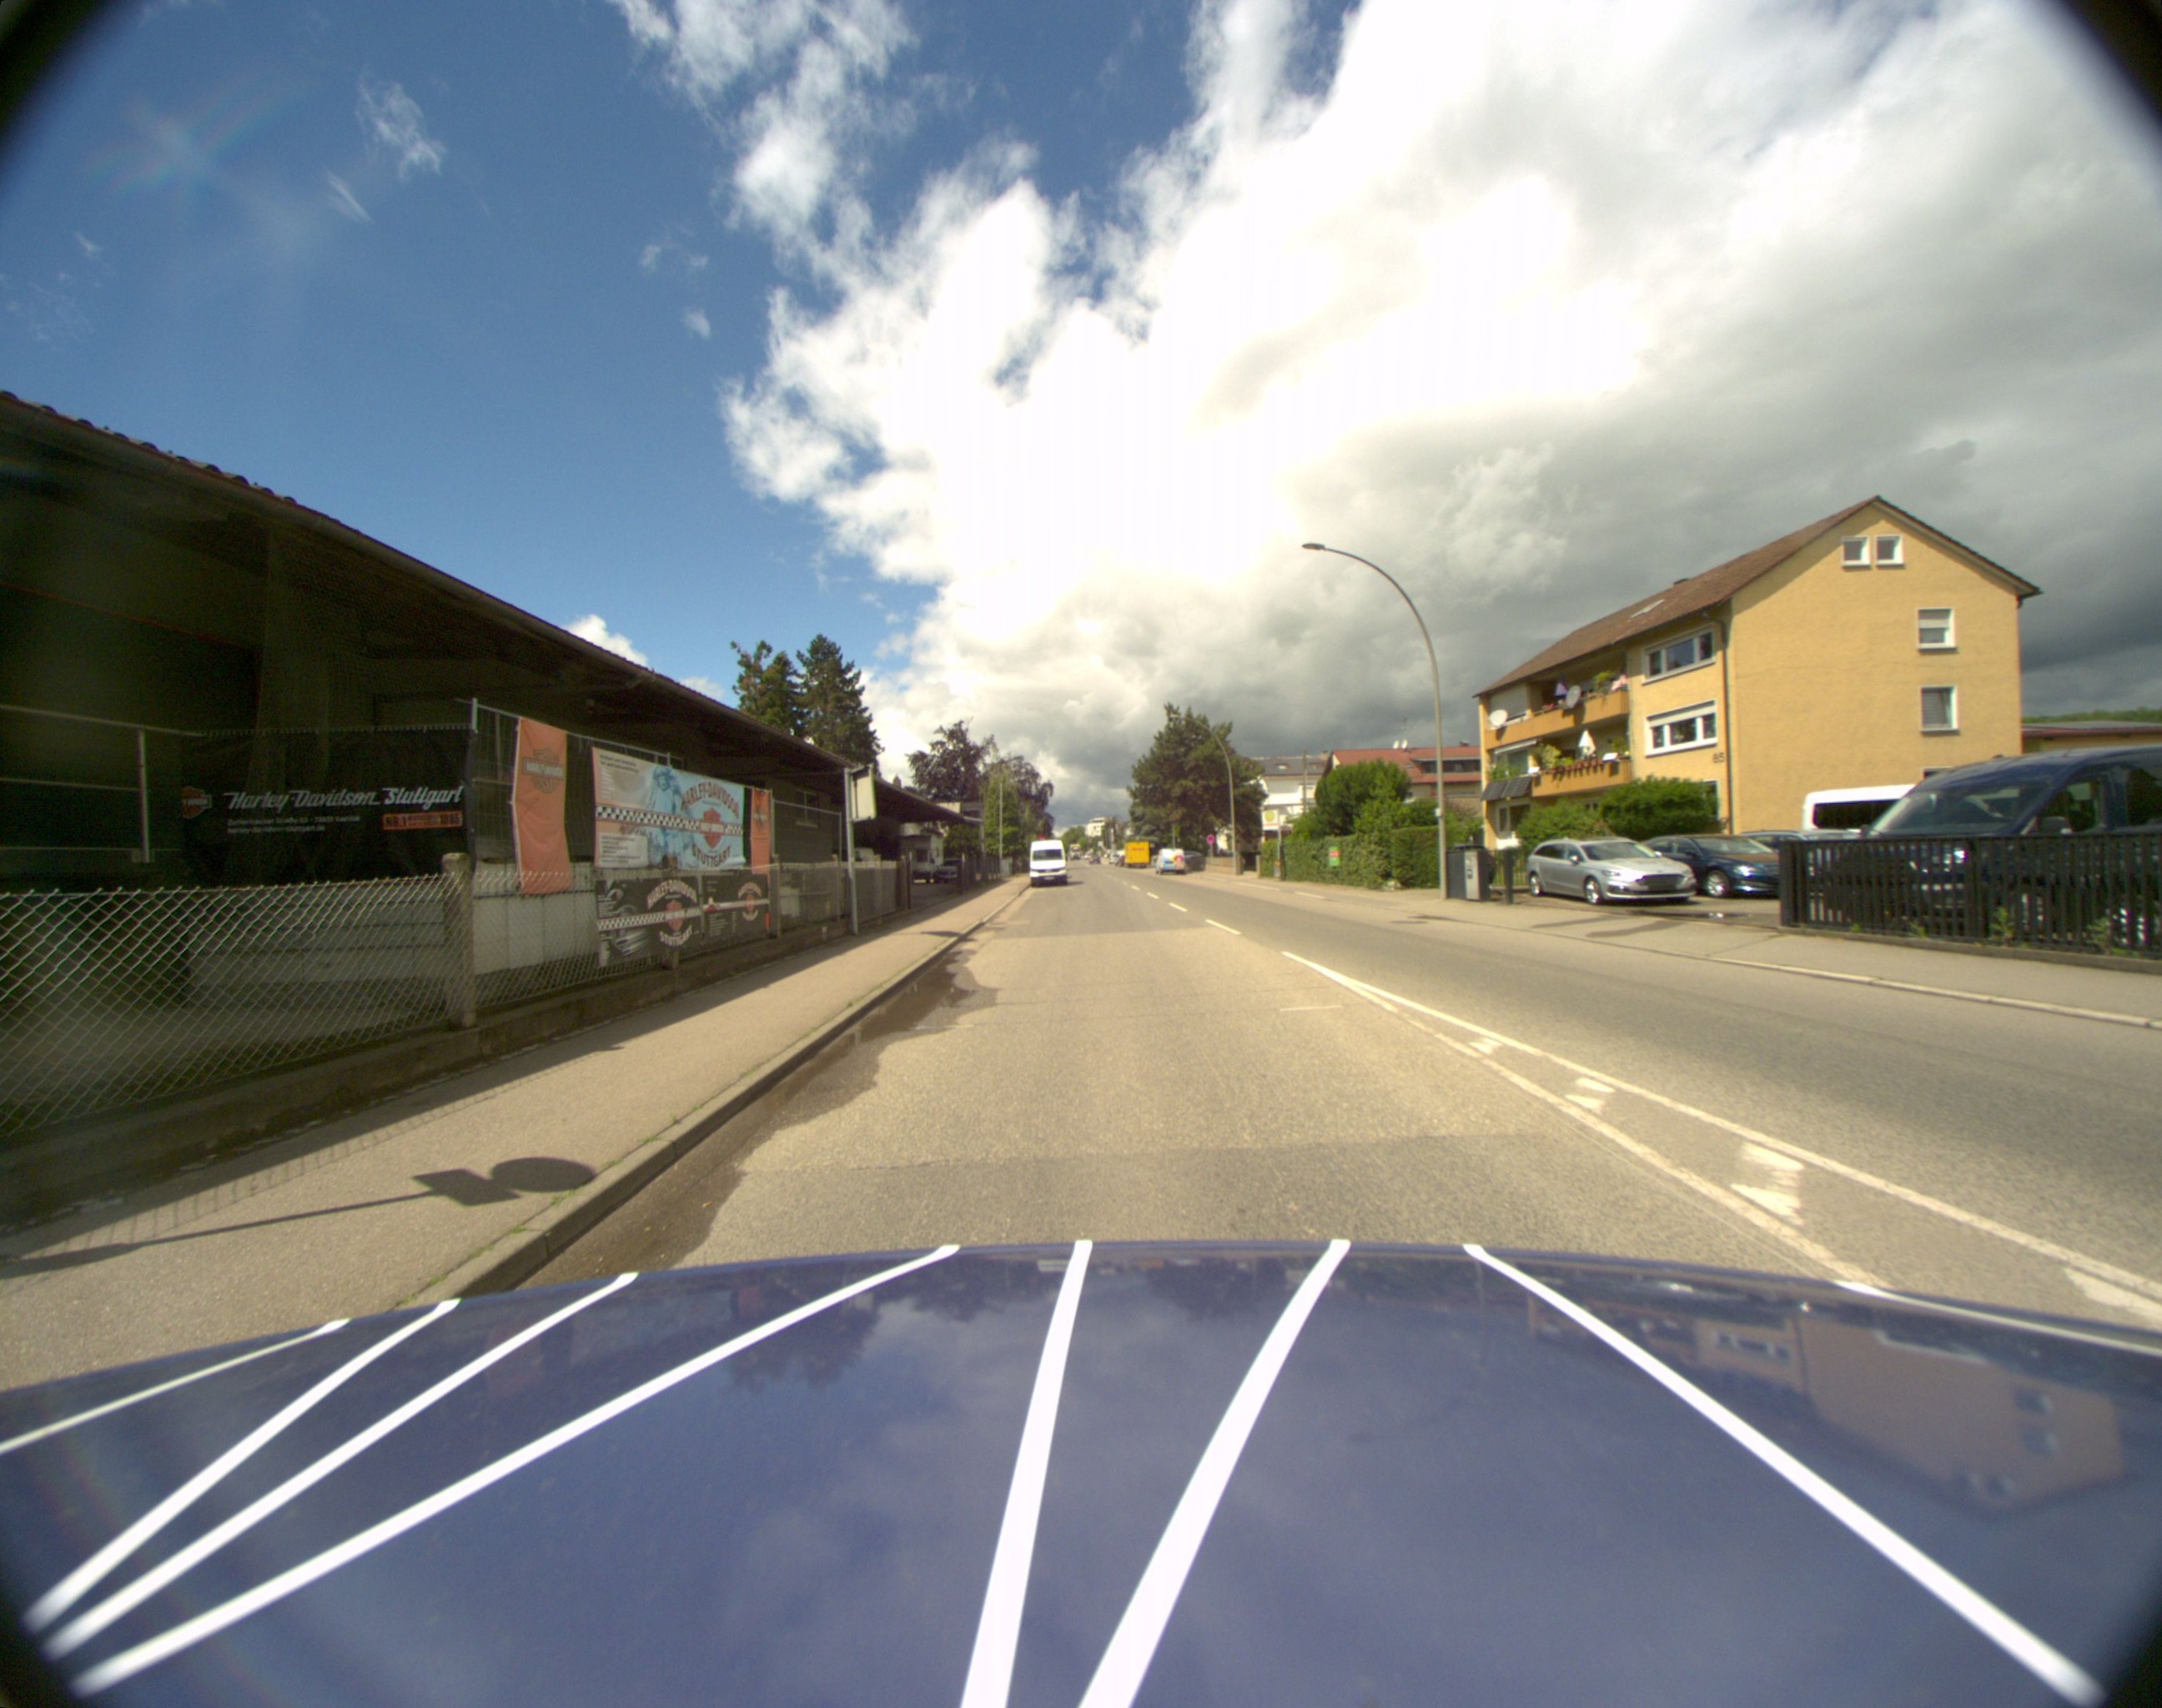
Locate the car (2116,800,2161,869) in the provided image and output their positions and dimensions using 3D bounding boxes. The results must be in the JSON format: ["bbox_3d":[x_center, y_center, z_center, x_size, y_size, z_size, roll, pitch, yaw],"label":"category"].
[{"bbox_3d":[28.629,-0.518,18.171,1.849,1.781,4.330,-2,0,0],"label":"car"}]

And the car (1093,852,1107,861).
[{"bbox_3d":[3.069,0.397,122.954,1.906,1.509,4.317,-1,0,-2],"label":"car"}]

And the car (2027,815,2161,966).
[{"bbox_3d":[12.404,0.353,6.965,2.037,1.585,4.283,-2,0,-4],"label":"car"}]

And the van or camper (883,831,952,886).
[{"bbox_3d":[-9.940,0.254,46.935,2.889,3.043,6.911,-2,0,-2],"label":"van or camper"}]

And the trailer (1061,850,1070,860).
[{"bbox_3d":[-3.634,0.145,177.294,2.045,2.214,5.078,-1,0,0],"label":"trailer"}]

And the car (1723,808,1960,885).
[{"bbox_3d":[17.766,-0.172,18.097,1.848,1.568,4.334,-1,0,11],"label":"car"}]

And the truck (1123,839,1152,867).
[{"bbox_3d":[6.280,-0.105,85.573,2.330,2.986,7.816,0,0,-2],"label":"truck"}]

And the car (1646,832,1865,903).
[{"bbox_3d":[15.425,0.261,17.737,1.848,1.418,4.334,-1,0,11],"label":"car"}]

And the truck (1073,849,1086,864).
[{"bbox_3d":[-0.419,0.611,192.074,2.880,3.290,8.605,-4,1,-1],"label":"truck"}]

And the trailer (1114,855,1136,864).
[{"bbox_3d":[5.703,0.695,99.591,2.324,0.985,7.458,0,0,-1],"label":"trailer"}]

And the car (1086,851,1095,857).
[{"bbox_3d":[2.465,0.003,193.571,1.987,1.412,3.999,-1,0,-3],"label":"car"}]

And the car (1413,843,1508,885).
[{"bbox_3d":[14.251,0.349,28.849,1.848,1.418,4.333,-2,0,7],"label":"car"}]

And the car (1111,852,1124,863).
[{"bbox_3d":[5.561,0.591,117.134,1.809,1.666,4.127,0,0,-1],"label":"car"}]

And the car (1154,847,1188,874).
[{"bbox_3d":[6.548,0.486,55.635,1.838,1.842,4.895,1,-1,-1],"label":"car"}]

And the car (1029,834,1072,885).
[{"bbox_3d":[-1.728,0.273,43.775,2.221,2.673,6.656,-1,0,-2],"label":"car"}]

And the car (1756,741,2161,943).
[{"bbox_3d":[13.835,-0.197,10.933,6.053,2.482,2.477,-2,0,-1],"label":"car"}]

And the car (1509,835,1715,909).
[{"bbox_3d":[12.442,0.358,18.353,1.997,1.477,5.344,-2,0,10],"label":"car"}]

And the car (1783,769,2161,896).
[{"bbox_3d":[20.560,-0.433,17.944,2.418,2.481,6.135,0,0,2],"label":"car"}]

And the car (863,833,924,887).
[{"bbox_3d":[-9.956,0.351,40.841,2.023,2.665,5.497,-2,-1,-2],"label":"car"}]

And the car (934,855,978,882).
[{"bbox_3d":[-7.297,0.836,44.717,1.769,1.480,4.926,-2,0,-1],"label":"car"}]

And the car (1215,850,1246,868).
[{"bbox_3d":[13.657,0.433,69.672,1.772,1.534,4.086,-2,0,-5],"label":"car"}]

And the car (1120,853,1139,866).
[{"bbox_3d":[5.924,0.674,93.279,1.999,1.445,4.811,2,0,-1],"label":"car"}]

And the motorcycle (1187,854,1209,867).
[{"bbox_3d":[10.544,0.593,68.482,1.872,1.159,0.825,-2,0,16],"label":"motorcycle"}]

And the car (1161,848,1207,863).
[{"bbox_3d":[11.897,0.203,88.003,5.021,1.543,1.972,-2,1,-2],"label":"car"}]

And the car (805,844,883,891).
[{"bbox_3d":[-10.496,0.590,34.050,1.999,1.898,4.853,-2,0,-1],"label":"car"}]
